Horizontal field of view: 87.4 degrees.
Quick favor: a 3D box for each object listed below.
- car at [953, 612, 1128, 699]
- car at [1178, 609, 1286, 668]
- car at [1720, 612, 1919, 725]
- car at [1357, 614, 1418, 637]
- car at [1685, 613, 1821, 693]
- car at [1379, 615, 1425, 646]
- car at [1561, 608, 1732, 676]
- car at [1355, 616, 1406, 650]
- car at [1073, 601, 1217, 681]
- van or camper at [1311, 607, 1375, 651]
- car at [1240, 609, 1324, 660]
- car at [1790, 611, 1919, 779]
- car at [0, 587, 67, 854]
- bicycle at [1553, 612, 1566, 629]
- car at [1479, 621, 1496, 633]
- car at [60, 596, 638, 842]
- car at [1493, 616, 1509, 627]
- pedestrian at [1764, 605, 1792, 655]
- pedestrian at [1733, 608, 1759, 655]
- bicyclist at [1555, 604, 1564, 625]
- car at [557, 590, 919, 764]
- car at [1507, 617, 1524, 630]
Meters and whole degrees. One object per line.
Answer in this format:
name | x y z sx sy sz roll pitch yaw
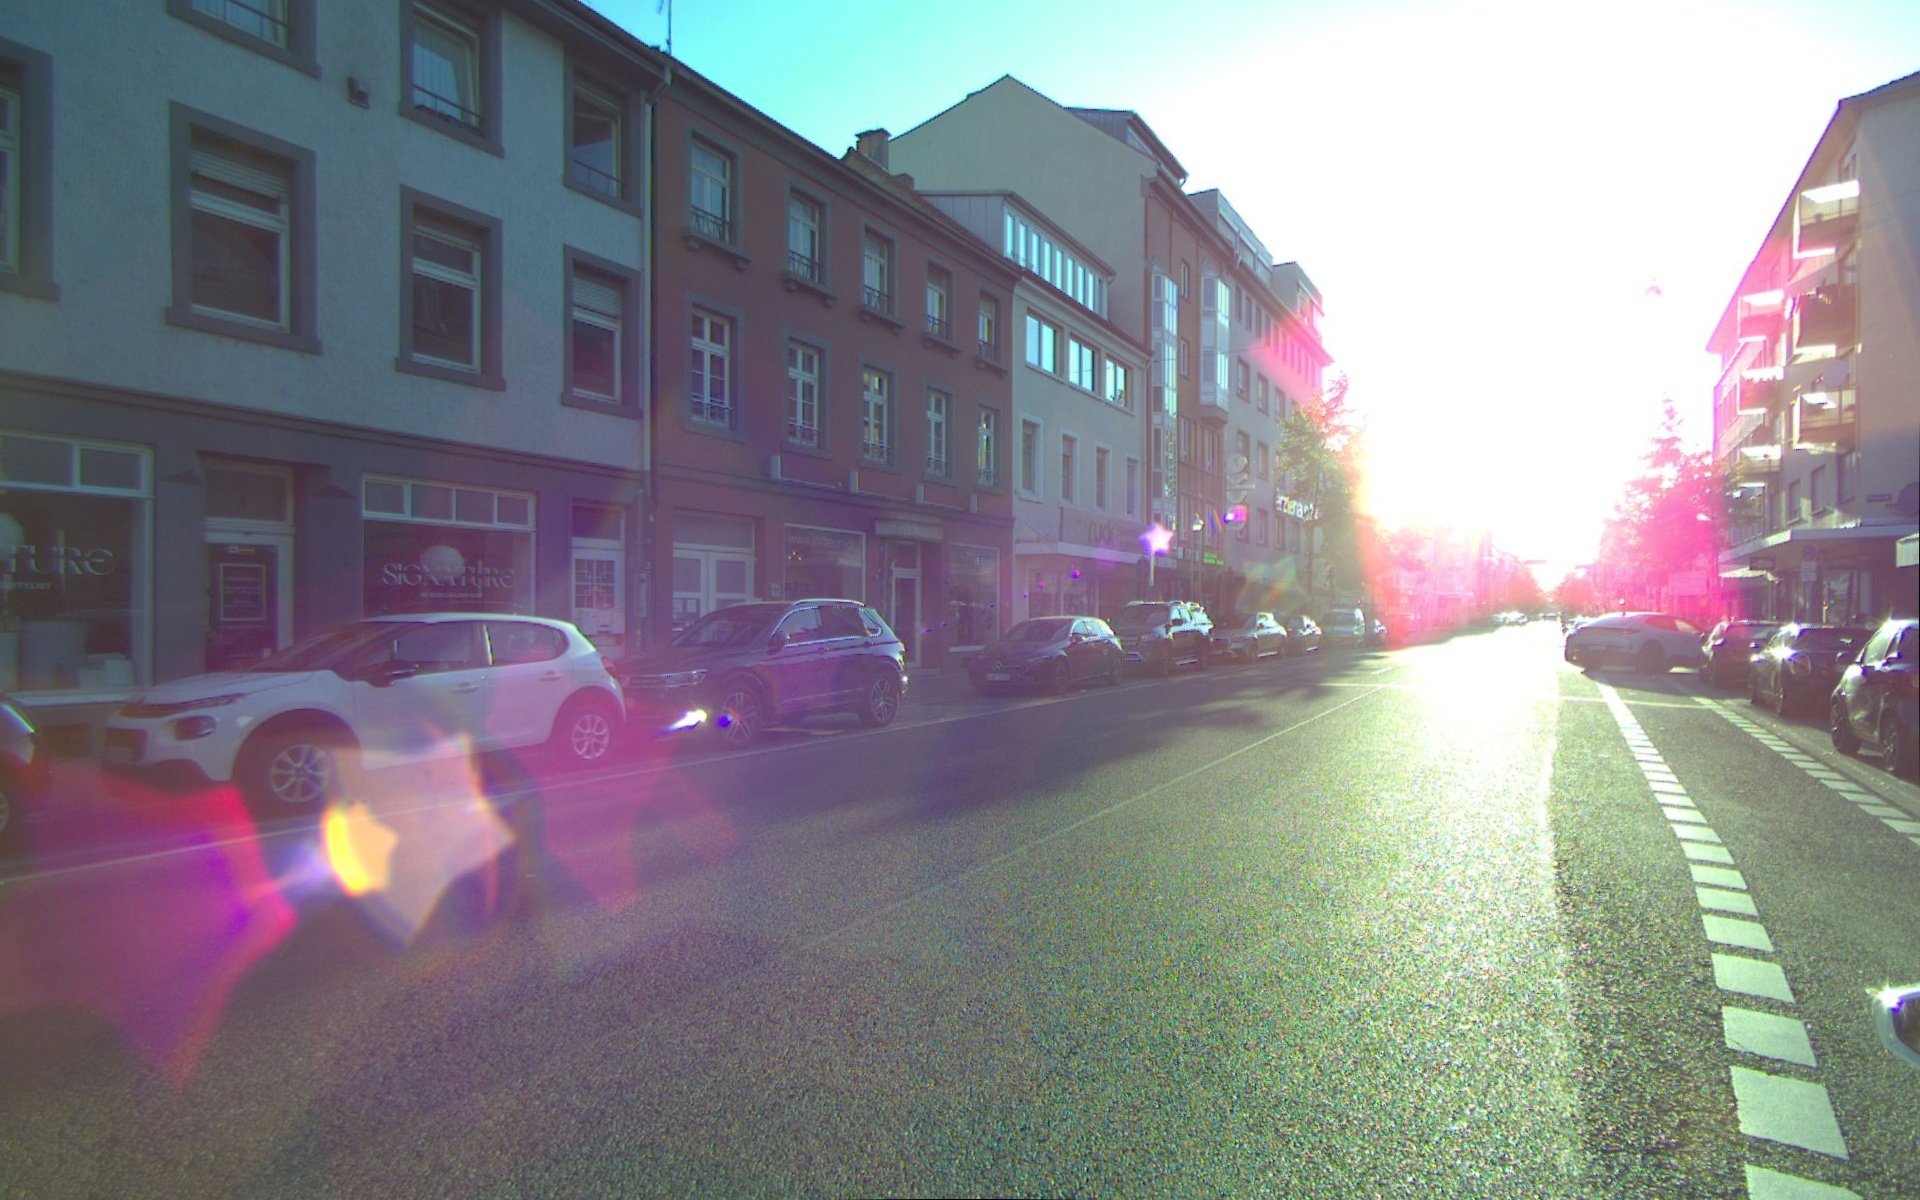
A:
car | 1.719 1.030 19.789 1.661 1.507 4.402 -3 -2 30
car | 8.418 1.124 30.772 1.965 1.677 4.617 -1 -1 32
car | 13.917 1.003 16.488 1.763 1.601 3.781 0 0 29
car | 29.983 1.785 70.531 1.617 1.430 3.626 1 1 -32
car | 17.457 1.095 22.280 1.763 1.601 3.781 0 0 29
car | 23.117 1.584 52.490 1.666 1.523 3.777 0 0 32
car | 18.868 1.141 27.623 4.260 1.720 1.868 2 1 -23
car | 20.306 1.552 48.459 1.666 1.523 3.777 0 0 32
car | 4.776 0.968 25.246 1.964 1.800 5.310 -1 -1 29
van or camper | 16.796 1.232 43.923 1.763 1.797 4.546 0 0 32
car | 11.611 1.183 35.991 1.964 1.677 4.471 0 -1 30
car | 10.703 0.926 11.002 1.763 1.601 3.960 0 0 29
car | -7.113 0.723 5.236 1.504 1.591 3.413 -2 -2 32
bicycle | 45.476 1.541 76.183 0.654 1.259 2.124 2 1 34
car | 67.694 3.485 128.864 1.666 1.523 3.777 0 0 32
car | -4.890 0.815 8.614 1.638 1.594 3.925 -2 -2 32
car | 73.627 2.905 136.608 1.666 1.523 3.777 0 0 32
pedestrian | 30.174 1.116 37.068 0.708 1.815 0.665 -1 -1 32
pedestrian | 30.541 1.210 39.043 0.708 1.815 0.665 -1 -1 32
bicyclist | 45.503 1.123 76.273 0.539 1.601 0.800 0 -1 34
car | -2.458 0.815 12.309 1.768 1.721 4.451 -2 -2 30
car | 70.435 2.995 127.324 1.666 1.523 3.777 0 0 32
